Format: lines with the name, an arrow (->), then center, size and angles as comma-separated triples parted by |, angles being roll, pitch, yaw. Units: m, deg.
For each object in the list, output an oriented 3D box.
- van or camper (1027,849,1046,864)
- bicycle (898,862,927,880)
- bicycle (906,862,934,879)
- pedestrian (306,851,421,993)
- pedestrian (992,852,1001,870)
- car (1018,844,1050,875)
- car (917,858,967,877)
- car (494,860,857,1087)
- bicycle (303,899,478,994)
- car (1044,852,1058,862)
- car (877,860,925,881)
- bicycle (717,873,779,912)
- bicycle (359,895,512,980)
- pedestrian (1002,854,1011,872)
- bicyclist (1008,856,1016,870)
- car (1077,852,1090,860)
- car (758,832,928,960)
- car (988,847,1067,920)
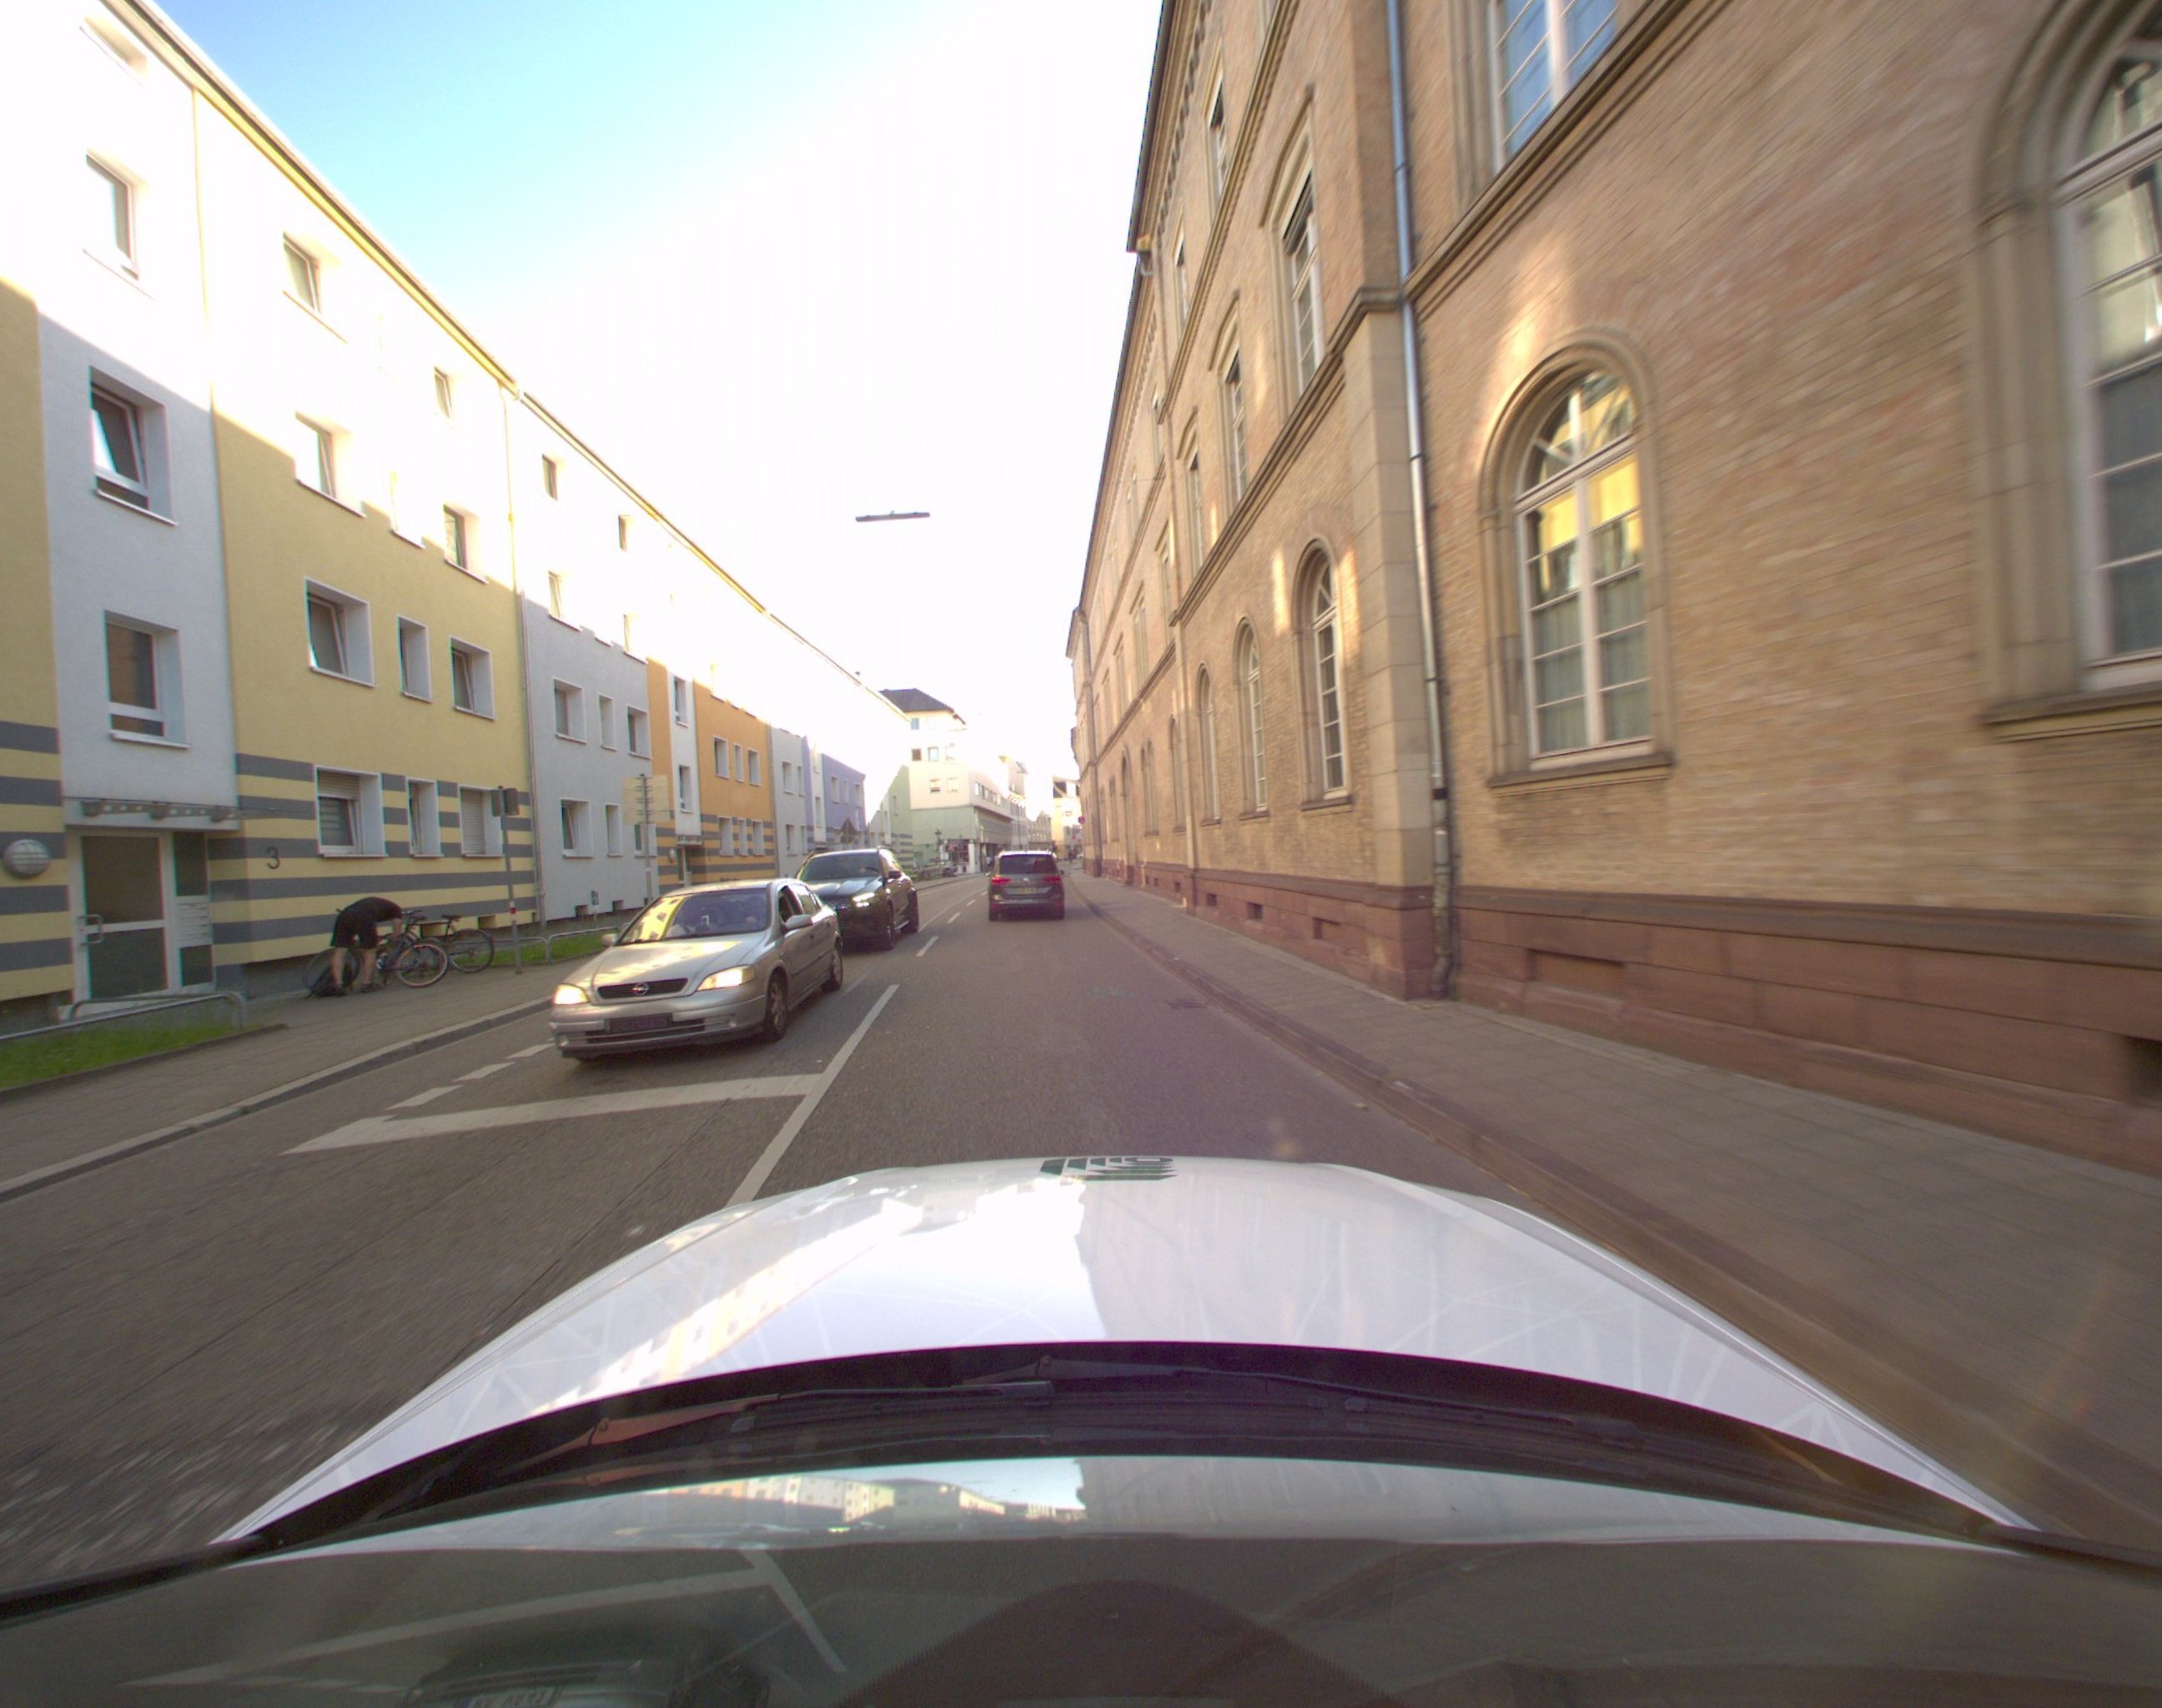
van or camper -> -6.429, 0.397, 117.000 | 1.984, 2.013, 4.489 | -3, 0, 5
bicycle -> -11.615, 1.184, 56.106 | 1.933, 1.179, 0.610 | 0, -1, -17
bicycle -> -11.372, 1.168, 57.584 | 1.929, 1.179, 0.611 | -1, -1, -11
pedestrian -> -9.908, 0.911, 11.266 | 0.714, 1.854, 0.873 | -3, 0, 18
pedestrian -> -8.457, 0.689, 81.691 | 0.550, 1.829, 0.735 | -3, 0, 22
car -> -3.101, 0.314, 54.217 | 1.989, 1.881, 3.996 | -3, 0, -3
car -> -12.536, 1.209, 73.529 | 4.085, 1.442, 1.948 | -4, 0, 0
car -> -3.583, 0.898, 8.160 | 1.738, 1.486, 4.129 | -5, 0, -5
bicycle -> -9.803, 1.290, 11.630 | 1.753, 1.145, 0.648 | -3, 0, -12
car -> -4.853, 0.543, 133.724 | 1.857, 1.468, 3.838 | -3, 0, 4
car -> -14.913, 1.378, 67.587 | 3.489, 1.442, 1.813 | -4, 0, 0
bicycle -> -11.074, 1.260, 27.102 | 1.753, 1.145, 0.648 | -3, 0, -12
bicycle -> -10.233, 1.304, 12.974 | 1.753, 1.145, 0.648 | -3, 0, -12
pedestrian -> -7.745, 0.950, 84.848 | 0.550, 1.829, 0.735 | -3, 0, 22
bicyclist -> -7.780, 1.001, 91.833 | 0.828, 1.561, 0.759 | -3, 0, -2
car -> 0.535, 0.400, 164.133 | 1.722, 1.468, 4.014 | -3, 0, 13
car -> -4.196, 0.655, 15.312 | 1.897, 1.834, 5.087 | -5, 0, -4
car -> -1.371, 0.654, 20.130 | 1.759, 1.607, 3.992 | 0, 0, -5
